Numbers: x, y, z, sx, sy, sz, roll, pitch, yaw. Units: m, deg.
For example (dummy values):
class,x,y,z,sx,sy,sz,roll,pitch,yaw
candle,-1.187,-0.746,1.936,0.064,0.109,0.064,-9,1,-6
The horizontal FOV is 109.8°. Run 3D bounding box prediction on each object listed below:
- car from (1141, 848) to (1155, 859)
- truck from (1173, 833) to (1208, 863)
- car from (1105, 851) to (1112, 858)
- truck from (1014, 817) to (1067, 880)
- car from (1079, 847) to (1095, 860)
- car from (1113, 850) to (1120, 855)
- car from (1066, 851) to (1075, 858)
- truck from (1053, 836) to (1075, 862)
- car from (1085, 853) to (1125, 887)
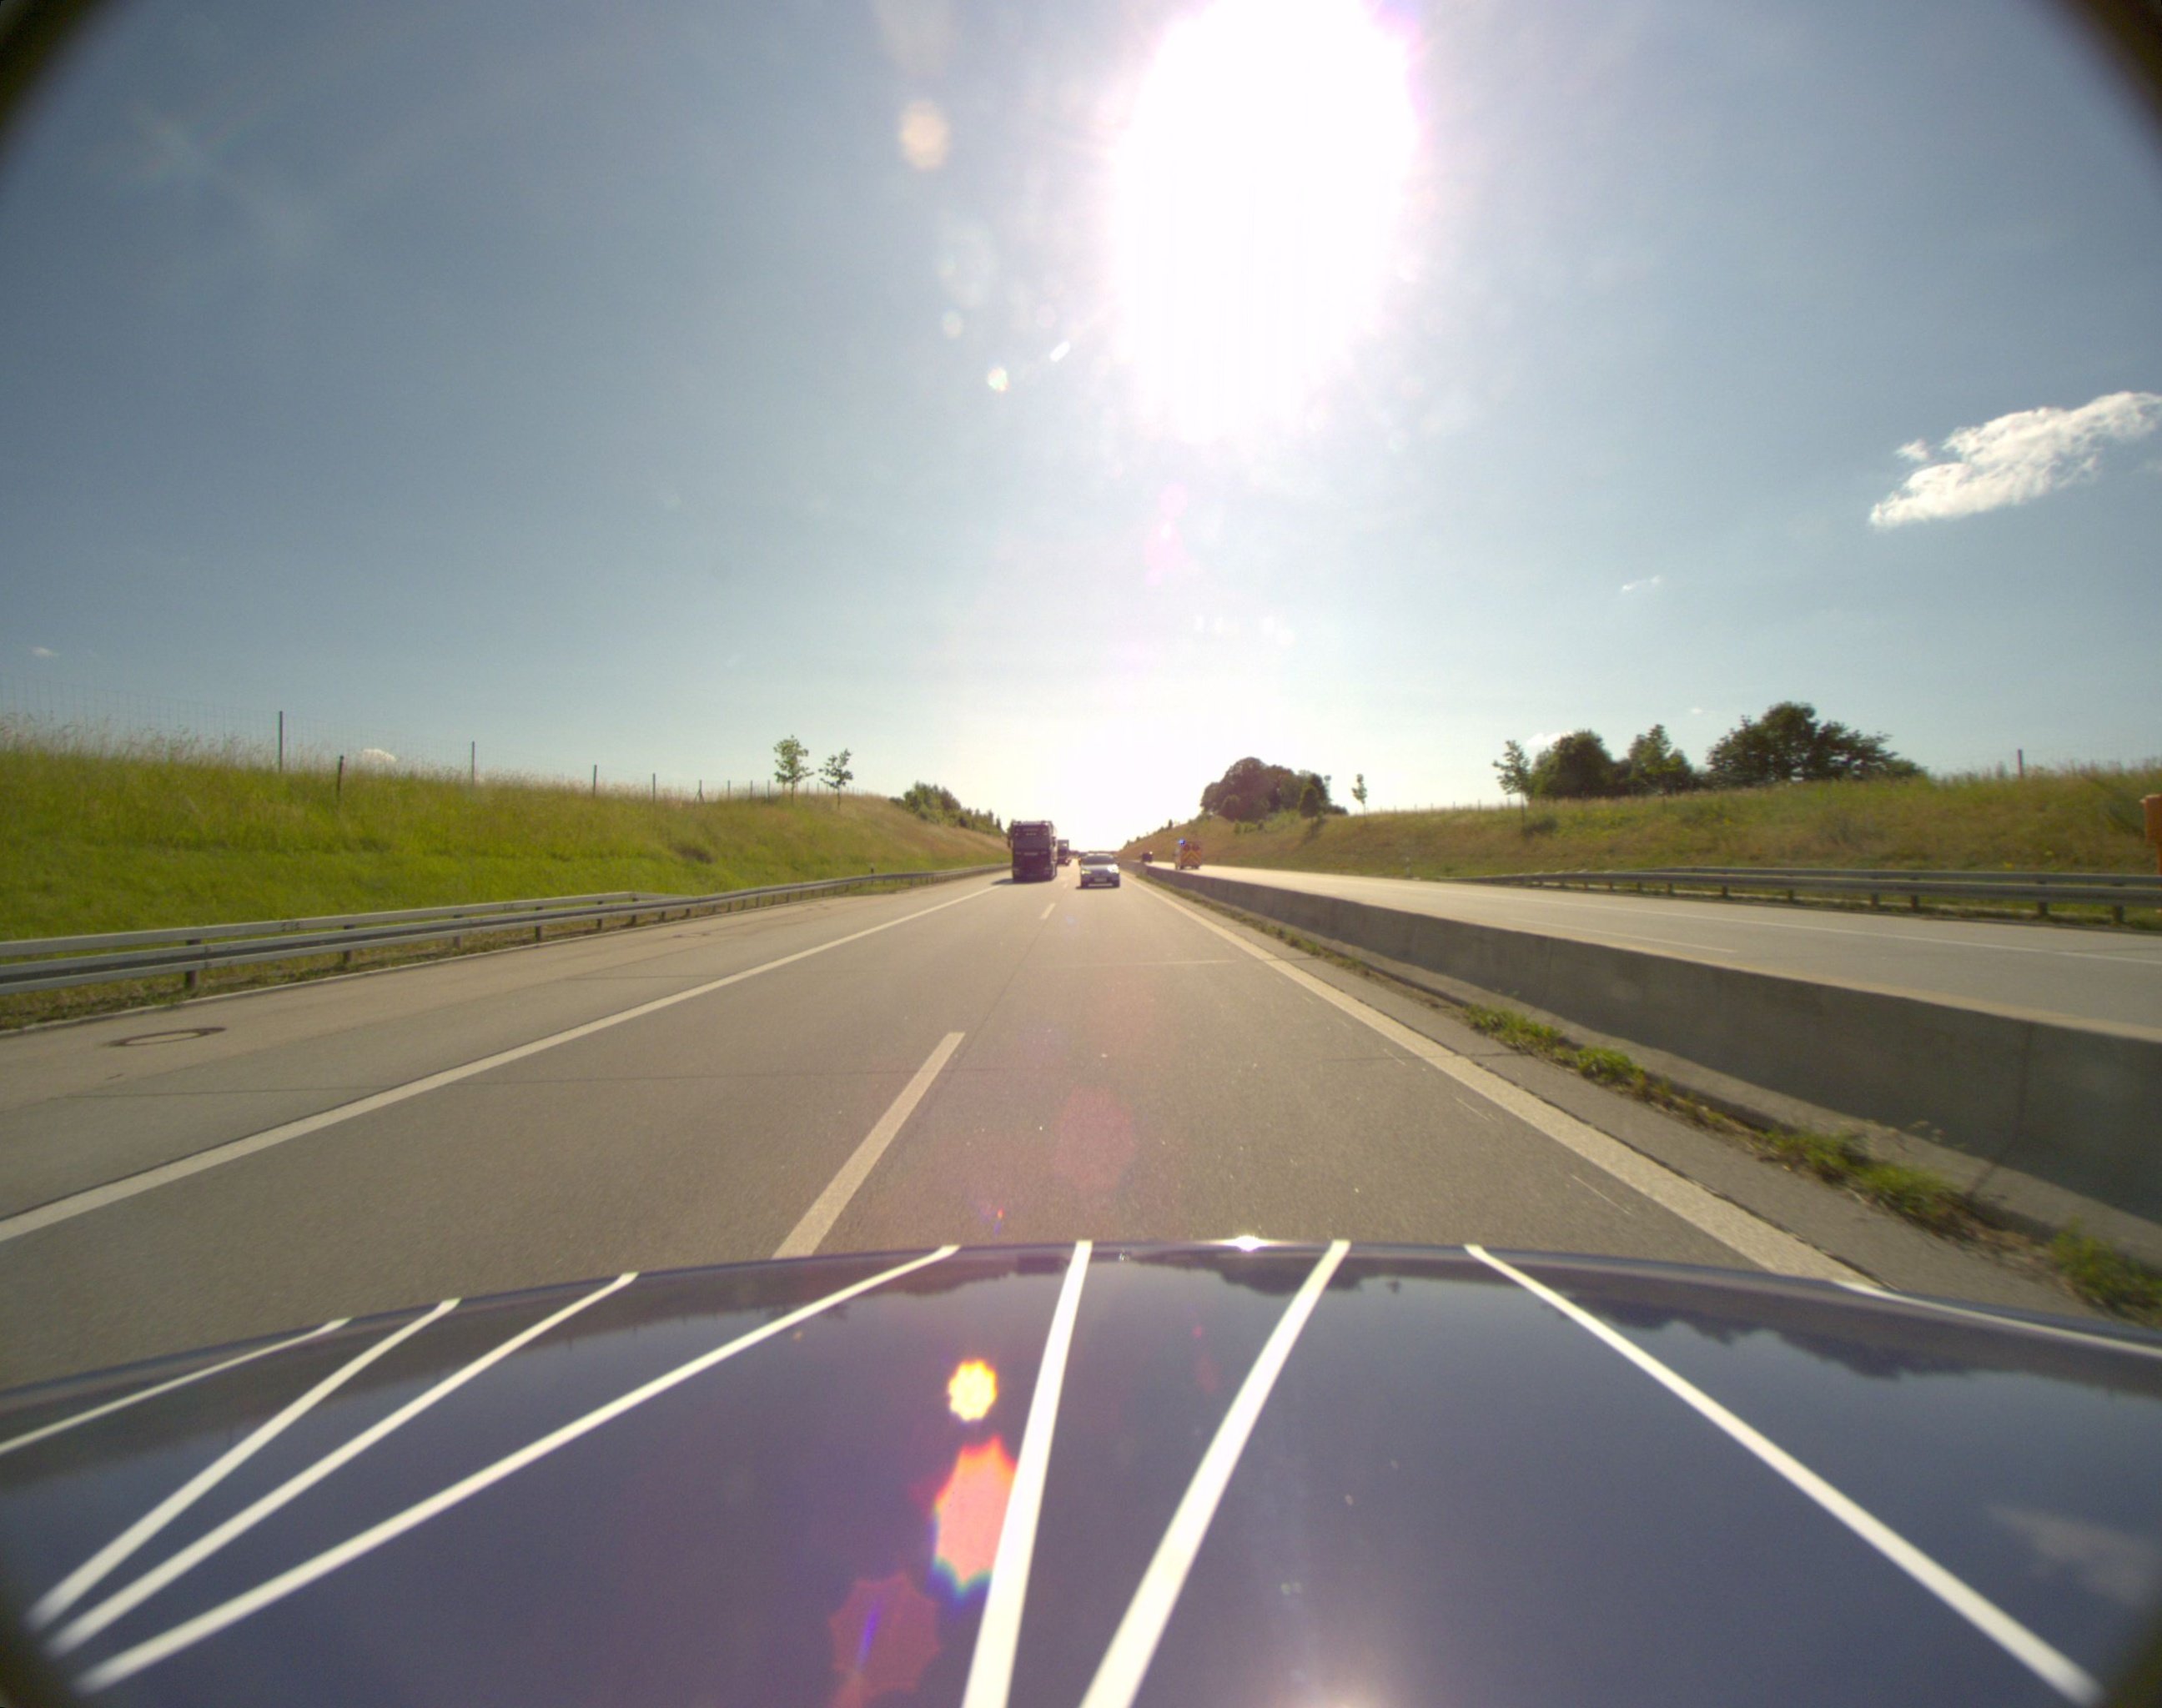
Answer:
class,x,y,z,sx,sy,sz,roll,pitch,yaw
car,12.140,-0.097,138.135,1.998,2.002,4.970,-2,0,0
truck,11.588,-0.588,80.942,2.781,3.004,6.792,-1,0,0
car,7.860,0.166,216.249,1.936,1.722,4.886,-2,0,0
truck,-2.562,-0.365,52.760,2.623,3.795,13.403,-1,0,1
car,1.023,-0.118,134.034,2.816,2.143,5.946,1,0,-1
car,10.977,-0.388,234.594,1.808,1.462,4.526,-1,0,0
car,-2.328,0.153,167.450,1.708,1.433,3.633,1,0,-4
truck,-2.582,-0.757,117.801,3.025,3.795,13.402,1,0,0
car,1.167,0.734,36.405,1.795,1.501,3.635,-1,0,2
